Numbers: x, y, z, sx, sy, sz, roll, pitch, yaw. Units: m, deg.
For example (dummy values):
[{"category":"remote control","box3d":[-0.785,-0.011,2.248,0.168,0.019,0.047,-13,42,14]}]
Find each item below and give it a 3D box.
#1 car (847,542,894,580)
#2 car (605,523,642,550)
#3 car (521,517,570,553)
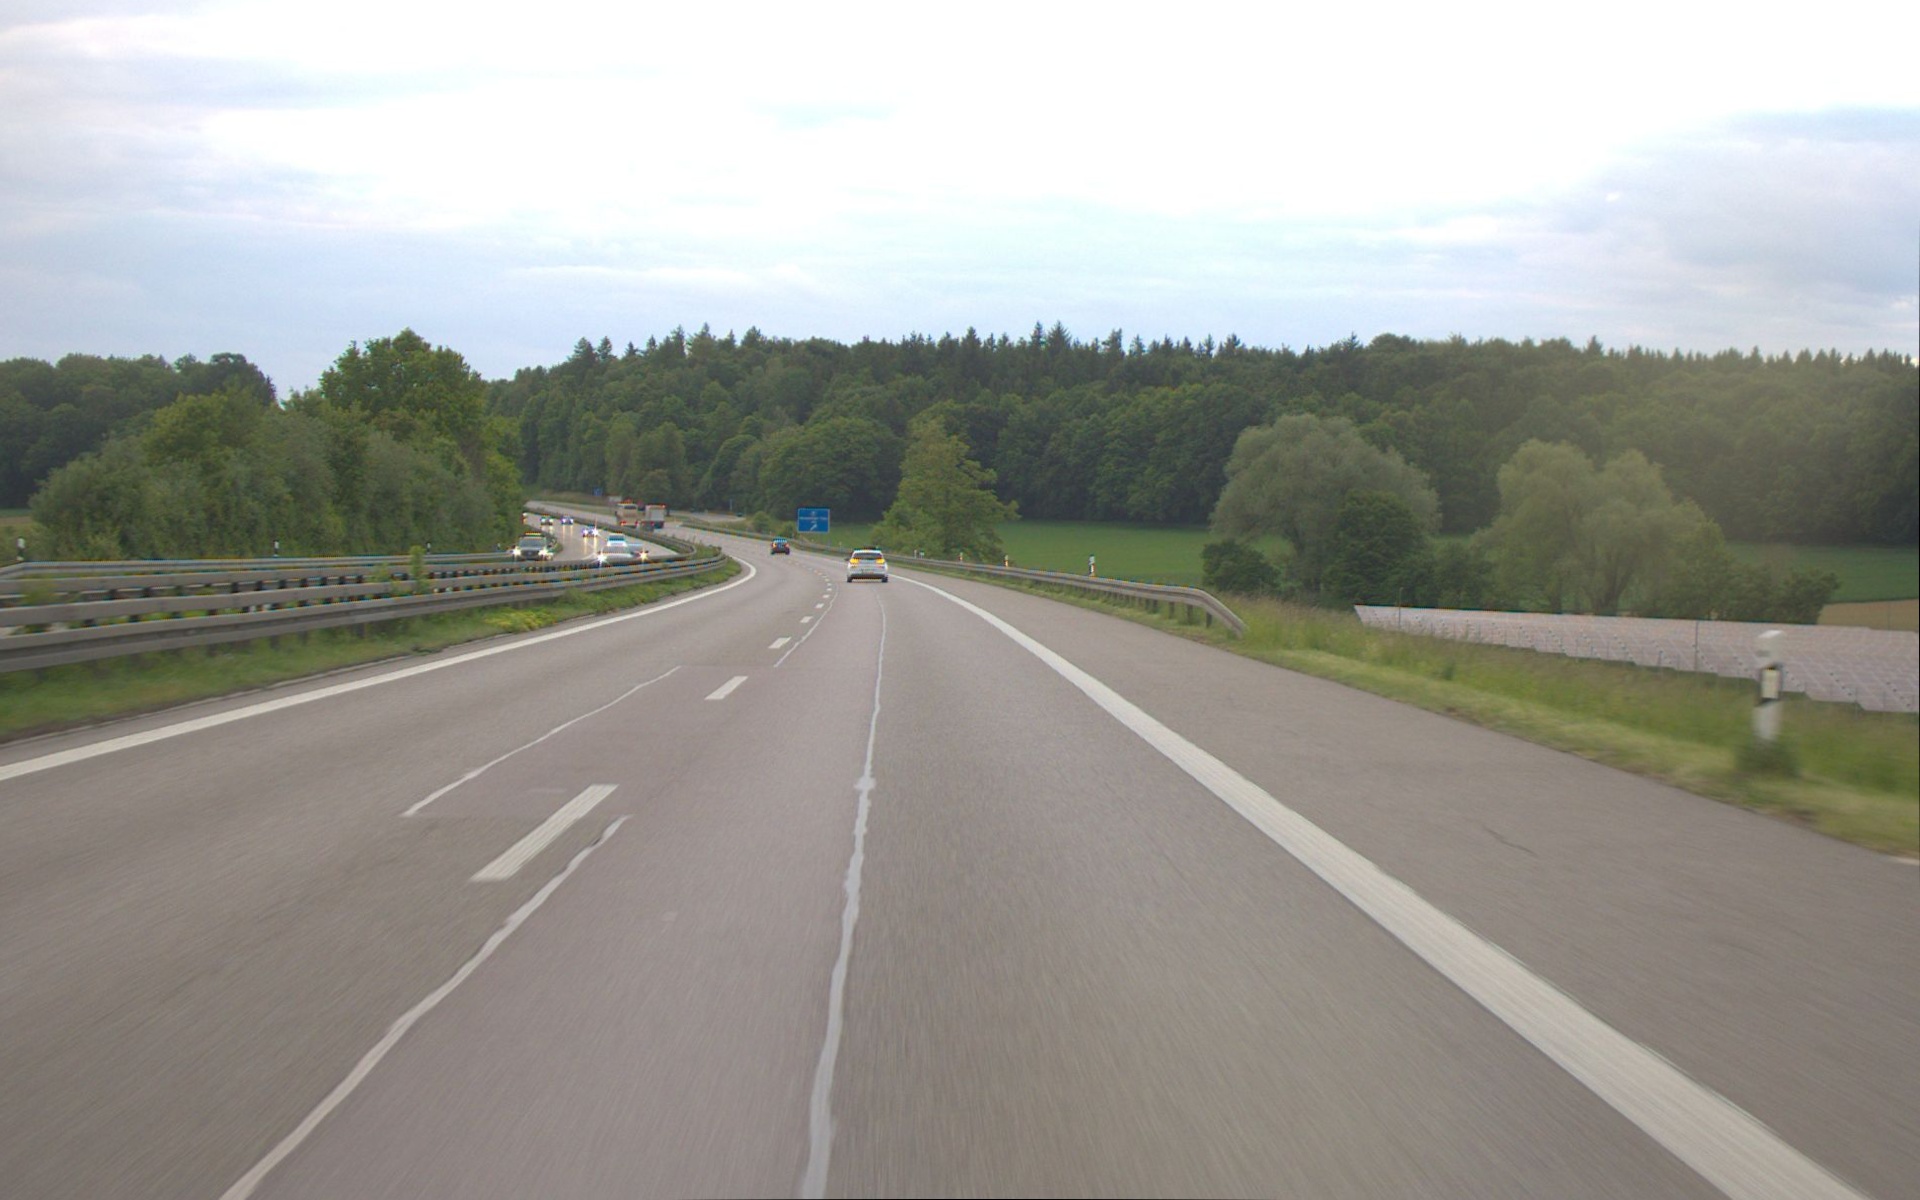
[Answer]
[{"category":"car","box3d":[-3.998,-1.766,153.664,1.951,1.526,4.081,3,1,-3]},{"category":"car","box3d":[-18.447,-3.510,188.503,1.566,1.360,4.620,3,1,-1]},{"category":"car","box3d":[-21.777,-3.397,180.881,1.886,1.688,5.769,3,0,-1]}]
